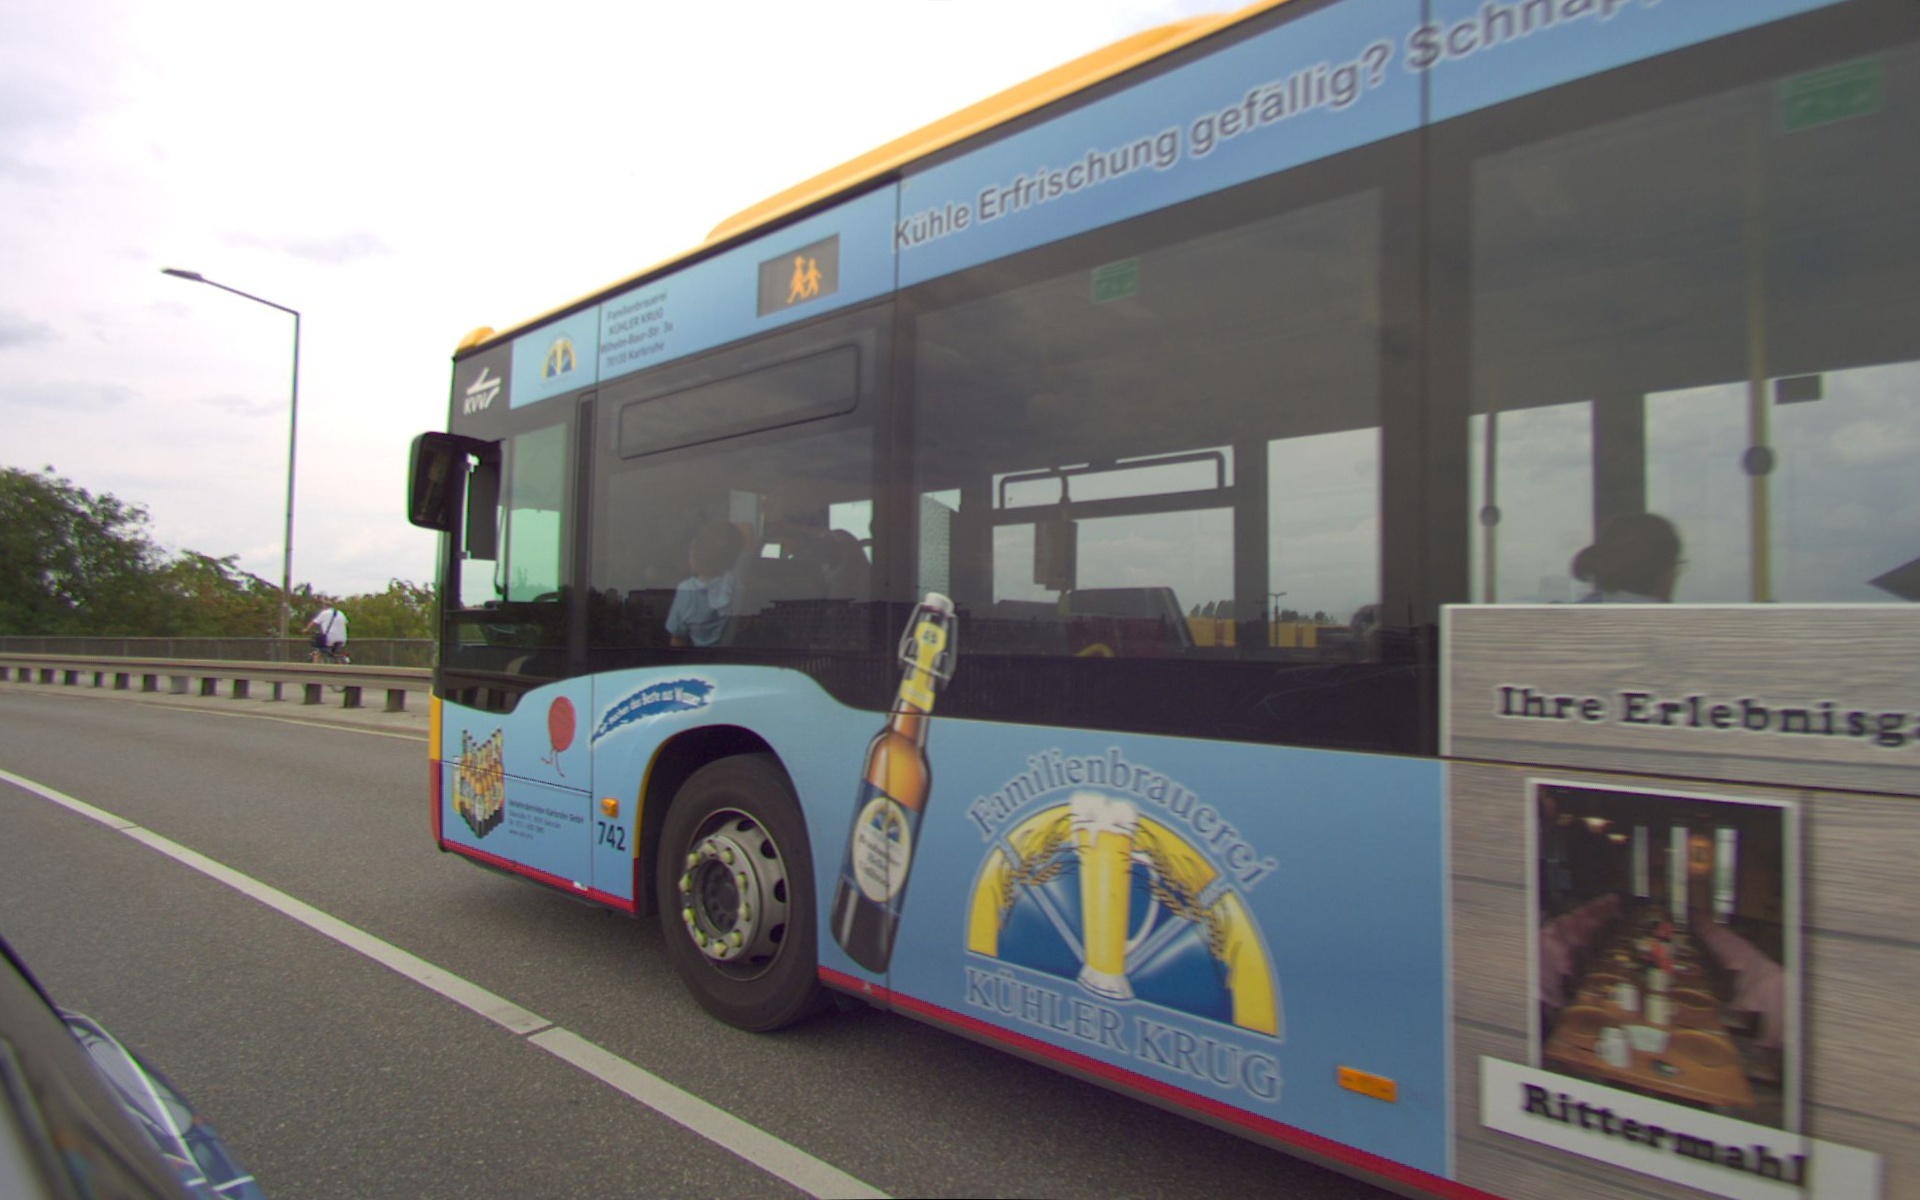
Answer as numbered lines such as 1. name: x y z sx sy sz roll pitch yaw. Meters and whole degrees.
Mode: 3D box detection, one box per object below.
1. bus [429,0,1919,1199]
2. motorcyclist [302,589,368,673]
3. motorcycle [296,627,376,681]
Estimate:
1. bus: 3.147 -0.349 1.832 12.948 3.258 3.000 -1 -1 42
2. motorcyclist: -11.920 0.579 19.309 0.822 1.541 0.803 -1 -1 33
3. motorcycle: -11.949 1.009 19.353 1.835 0.970 0.620 -1 -1 34
